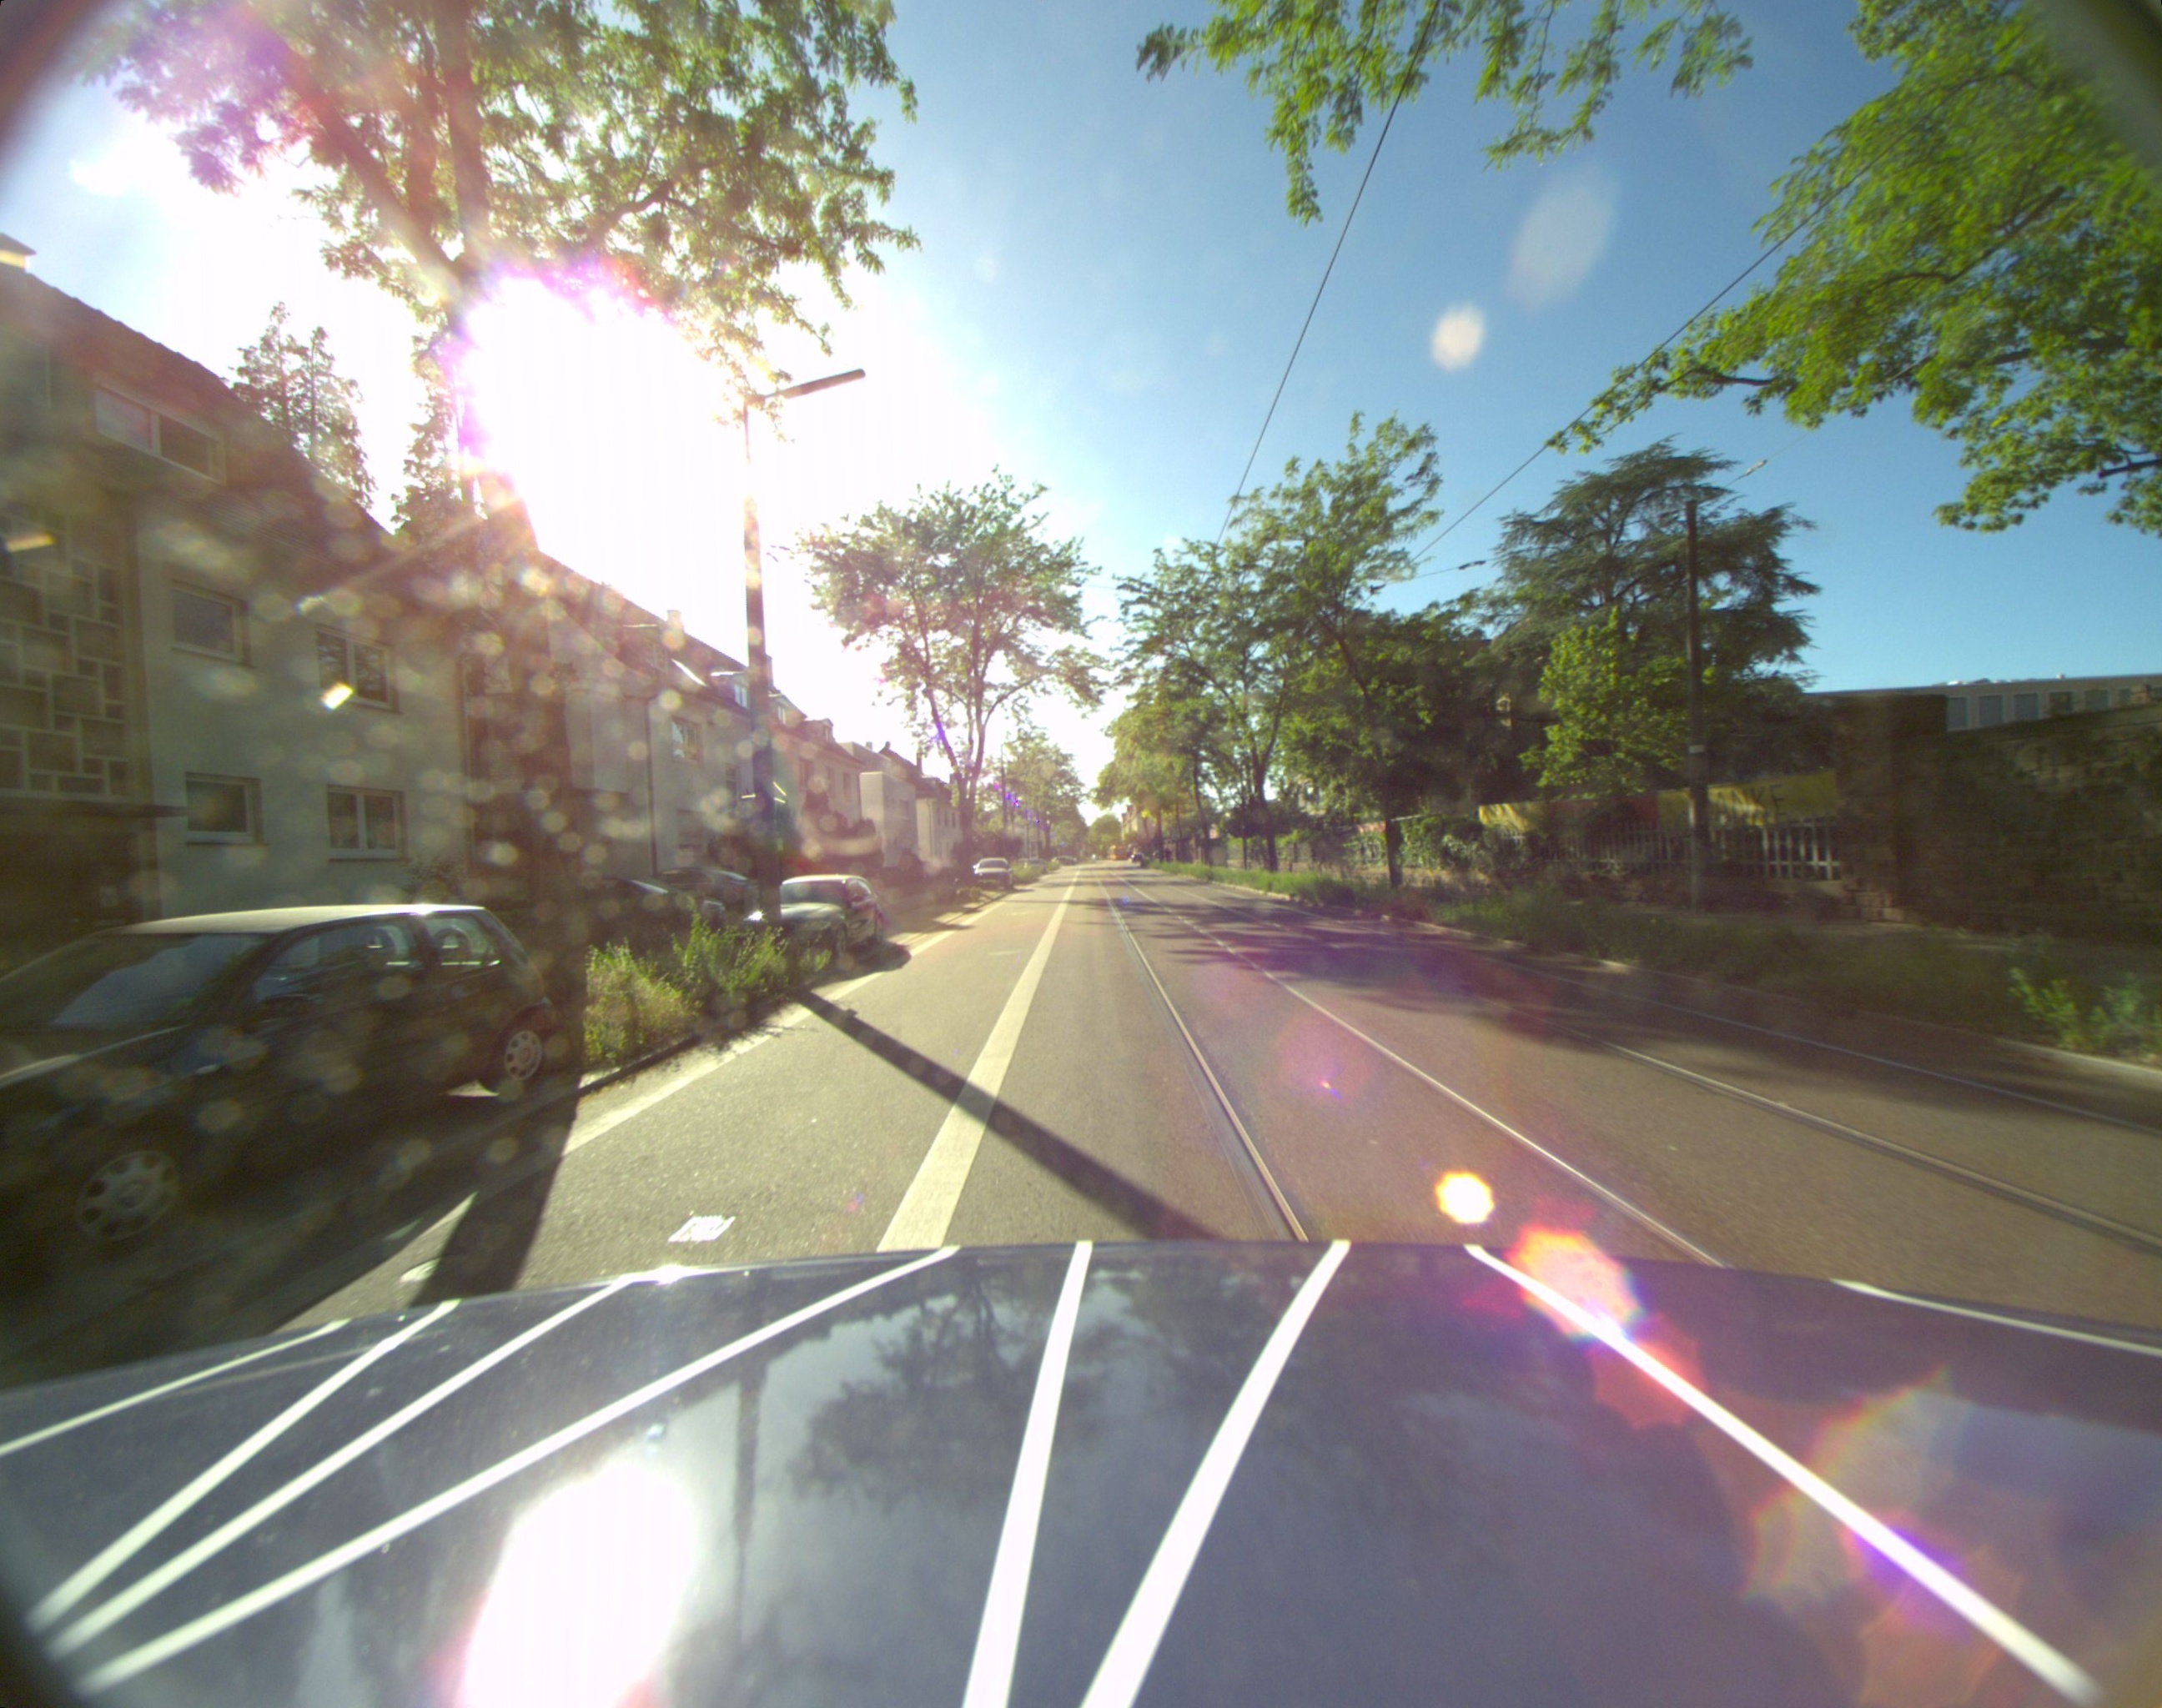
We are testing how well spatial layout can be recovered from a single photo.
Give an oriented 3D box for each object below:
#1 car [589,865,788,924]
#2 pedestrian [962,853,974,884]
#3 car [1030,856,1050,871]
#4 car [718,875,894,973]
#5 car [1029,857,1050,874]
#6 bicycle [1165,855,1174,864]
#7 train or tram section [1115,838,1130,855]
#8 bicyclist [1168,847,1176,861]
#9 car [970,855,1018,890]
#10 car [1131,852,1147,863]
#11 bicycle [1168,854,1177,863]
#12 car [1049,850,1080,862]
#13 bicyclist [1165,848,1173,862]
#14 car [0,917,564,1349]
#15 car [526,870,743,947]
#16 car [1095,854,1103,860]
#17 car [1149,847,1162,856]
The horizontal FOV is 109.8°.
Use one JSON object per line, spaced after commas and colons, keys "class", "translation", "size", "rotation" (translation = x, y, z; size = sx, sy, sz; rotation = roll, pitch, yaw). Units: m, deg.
{"class": "car", "translation": [-10.533, 1.064, 20.597], "size": [4.431, 1.481, 1.859], "rotation": [0, 0, 3]}
{"class": "pedestrian", "translation": [-6.712, 0.847, 45.255], "size": [0.627, 1.859, 0.732], "rotation": [0, 1, 0]}
{"class": "car", "translation": [-4.225, 0.942, 78.521], "size": [1.753, 1.486, 4.443], "rotation": [-2, 0, 0]}
{"class": "car", "translation": [-4.858, 1.161, 14.119], "size": [1.788, 1.440, 4.300], "rotation": [0, 0, -1]}
{"class": "car", "translation": [-3.935, 1.112, 72.772], "size": [1.753, 1.486, 3.996], "rotation": [-2, 0, 0]}
{"class": "bicycle", "translation": [9.416, 0.557, 80.966], "size": [0.713, 0.955, 2.094], "rotation": [-3, 0, 2]}
{"class": "train or tram section", "translation": [8.709, -1.506, 160.210], "size": [2.811, 3.439, 6.668], "rotation": [-3, 0, 1]}
{"class": "bicyclist", "translation": [9.962, 0.005, 83.306], "size": [0.711, 1.490, 0.956], "rotation": [-5, 1, 1]}
{"class": "car", "translation": [-4.522, 0.921, 40.142], "size": [1.999, 1.694, 4.477], "rotation": [0, 0, 0]}
{"class": "car", "translation": [8.679, 0.479, 113.353], "size": [1.751, 1.515, 4.073], "rotation": [-3, 0, 11]}
{"class": "bicycle", "translation": [9.999, 0.489, 83.230], "size": [0.720, 0.968, 1.888], "rotation": [-5, 1, 1]}
{"class": "car", "translation": [-2.499, 0.295, 116.818], "size": [4.575, 1.515, 2.000], "rotation": [-3, 1, 4]}
{"class": "bicyclist", "translation": [9.397, 0.074, 80.948], "size": [0.710, 1.462, 1.041], "rotation": [-3, 1, 1]}
{"class": "car", "translation": [-4.925, 1.191, 4.193], "size": [1.631, 1.389, 3.645], "rotation": [0, 0, 0]}
{"class": "car", "translation": [-9.797, 1.164, 16.934], "size": [3.749, 1.481, 1.739], "rotation": [-1, 0, -5]}
{"class": "car", "translation": [4.994, 0.809, 211.094], "size": [1.743, 1.450, 3.691], "rotation": [-3, 0, -8]}
{"class": "car", "translation": [13.319, -0.384, 135.989], "size": [1.753, 1.515, 4.035], "rotation": [-3, 0, 0]}
